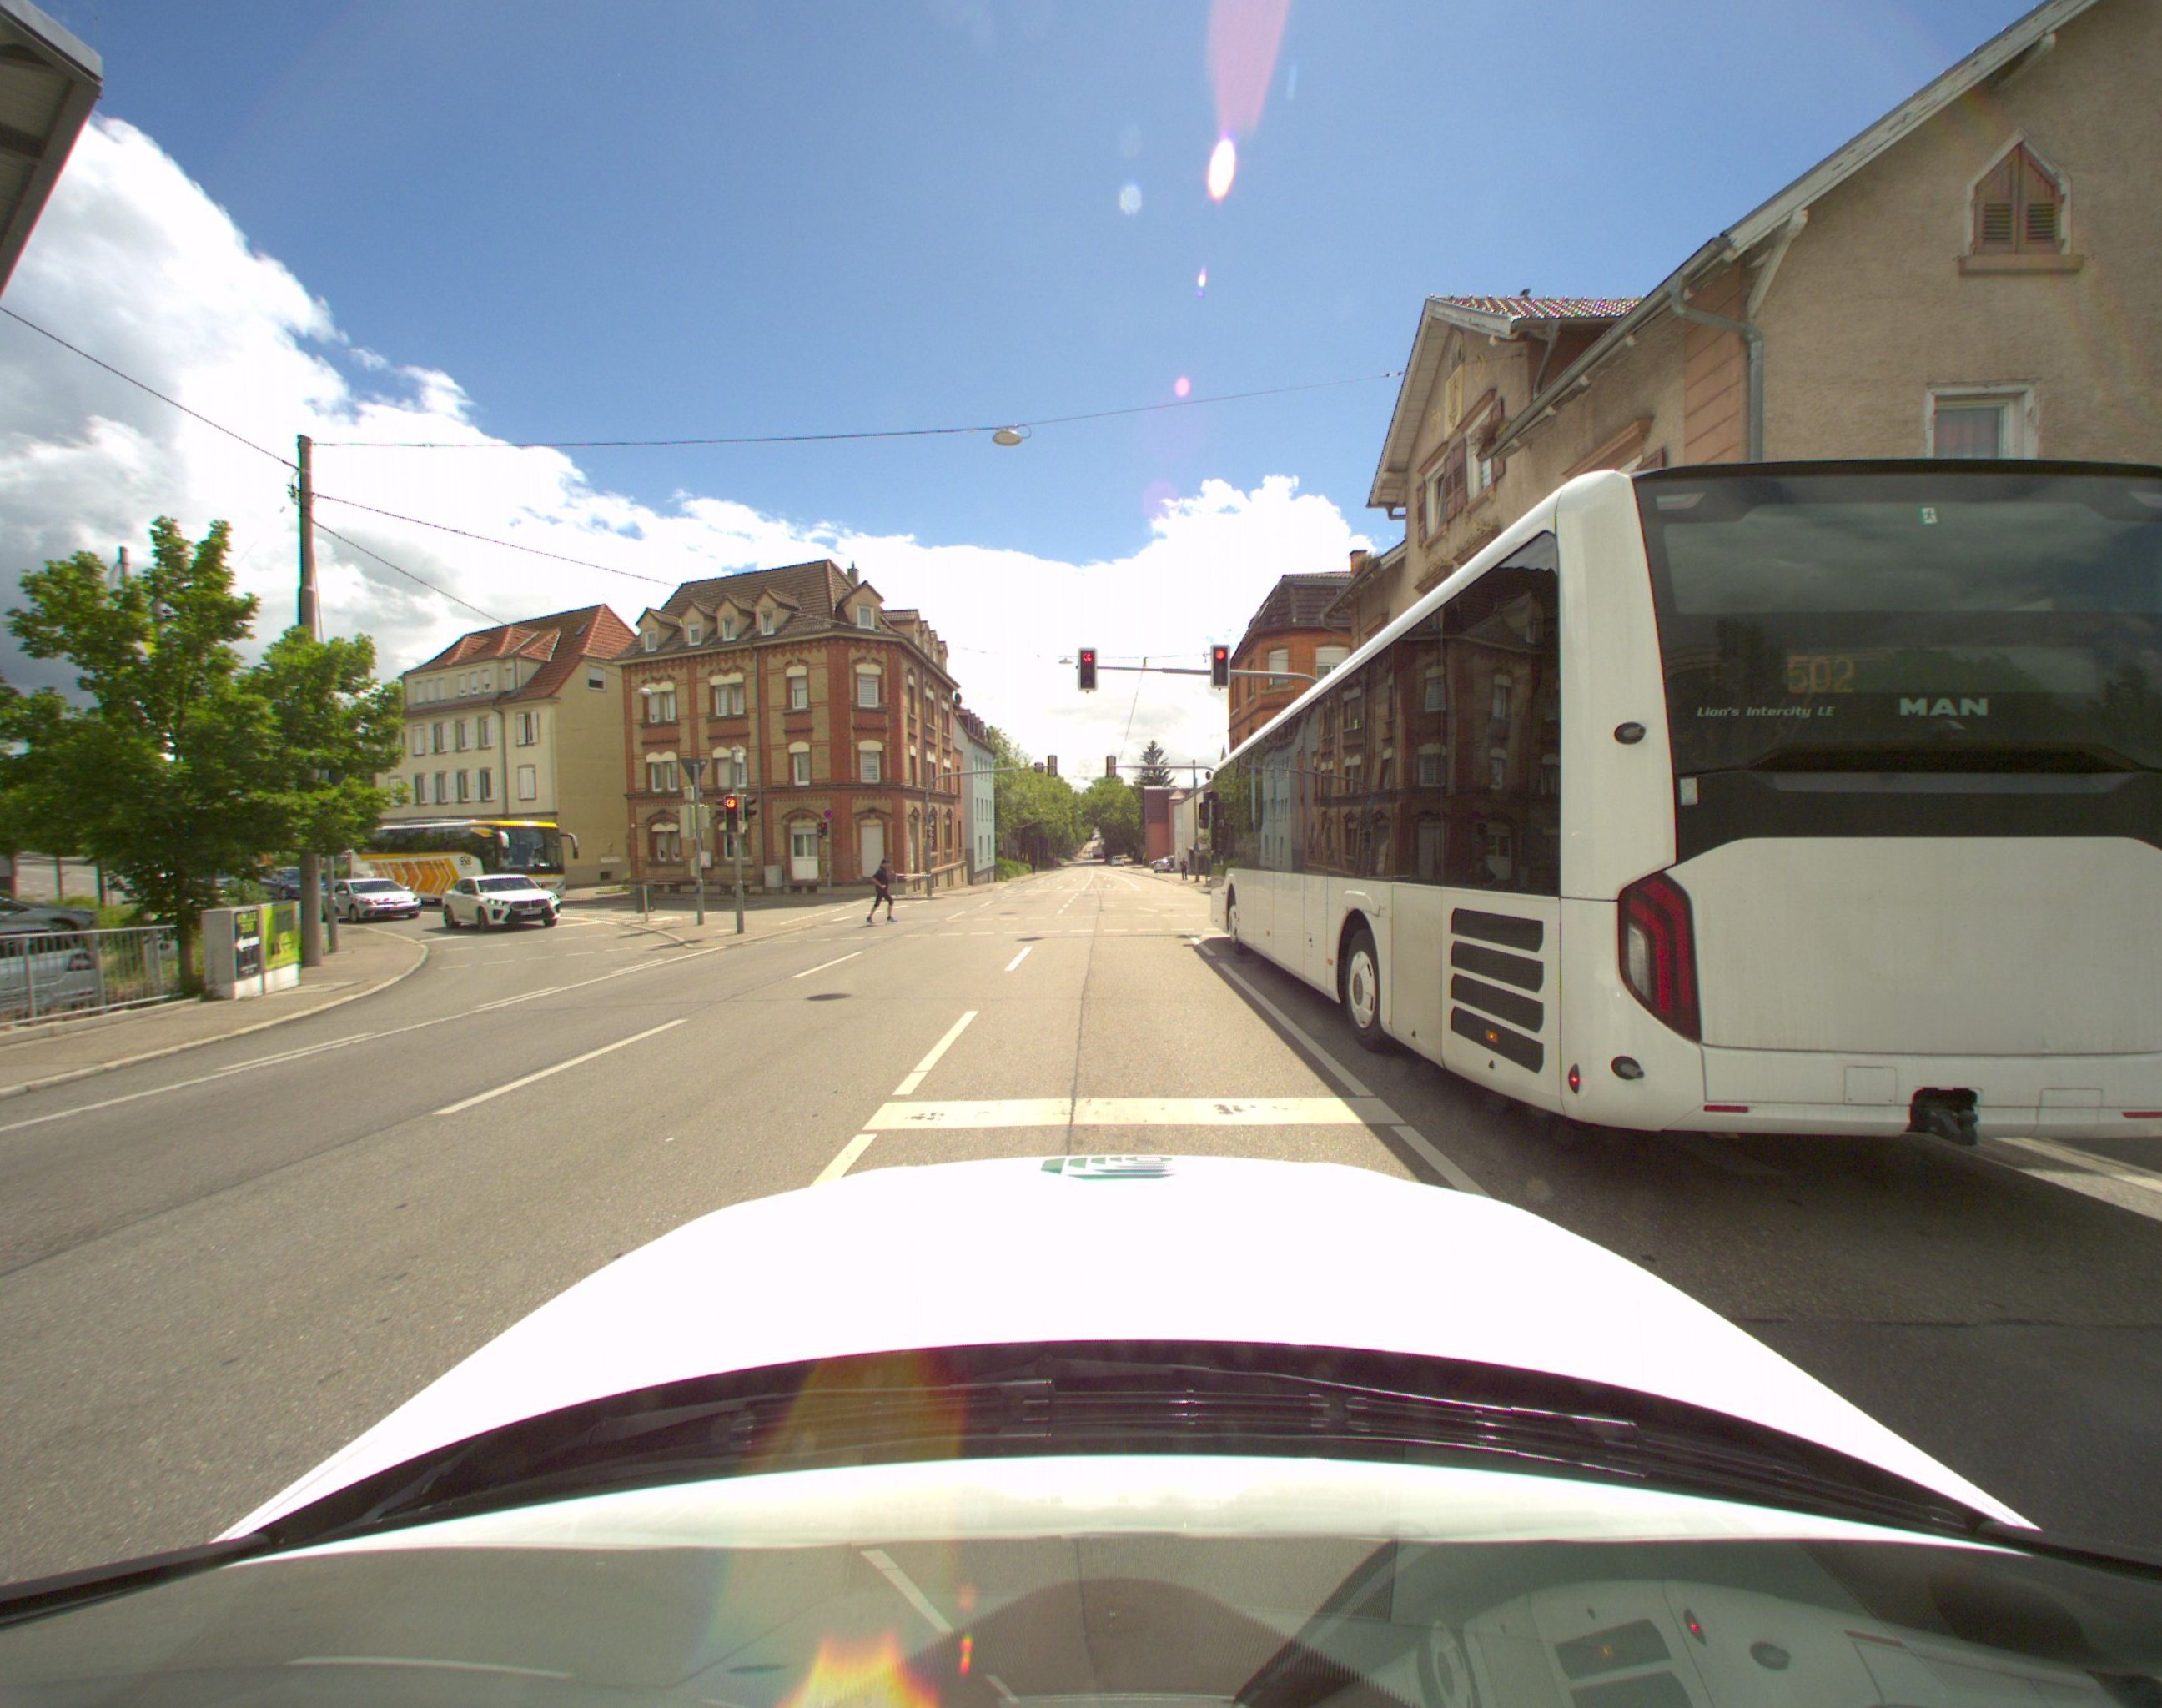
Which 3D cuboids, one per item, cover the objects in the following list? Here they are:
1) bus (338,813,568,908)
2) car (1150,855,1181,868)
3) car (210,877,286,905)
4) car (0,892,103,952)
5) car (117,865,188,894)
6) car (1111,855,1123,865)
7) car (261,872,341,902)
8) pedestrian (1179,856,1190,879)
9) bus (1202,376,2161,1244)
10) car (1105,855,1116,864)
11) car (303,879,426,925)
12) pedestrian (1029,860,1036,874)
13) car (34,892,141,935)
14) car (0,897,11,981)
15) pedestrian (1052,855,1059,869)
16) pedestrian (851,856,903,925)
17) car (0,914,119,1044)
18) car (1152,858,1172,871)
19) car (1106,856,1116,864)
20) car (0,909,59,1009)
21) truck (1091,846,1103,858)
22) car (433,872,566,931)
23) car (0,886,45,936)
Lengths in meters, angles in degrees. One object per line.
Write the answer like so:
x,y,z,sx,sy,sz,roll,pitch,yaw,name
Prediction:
-27.156,0.367,34.930,12.110,3.622,2.788,-1,0,27,bus
11.773,1.043,113.080,3.978,1.757,1.998,-2,0,-3,car
-45.676,2.028,44.657,3.949,1.409,1.923,-2,0,29,car
-29.464,1.876,22.087,1.777,1.477,3.522,-2,0,32,car
-53.706,1.467,47.110,3.949,1.554,1.923,-2,0,29,car
5.766,0.948,129.558,1.788,1.409,4.001,-1,0,1,car
-39.298,1.653,41.003,3.949,1.409,1.762,-2,0,28,car
7.952,1.066,62.743,0.736,1.750,0.619,-2,0,1,pedestrian
3.461,-0.152,9.243,2.662,3.155,12.467,-2,0,2,bus
5.309,0.989,146.382,1.787,1.409,4.421,-1,0,3,car
-24.637,1.616,27.994,3.575,1.418,1.895,-2,0,26,car
-5.624,1.528,93.555,0.727,1.565,0.561,-1,-1,0,pedestrian
-37.599,2.224,30.836,3.456,1.448,1.811,-2,0,26,car
-23.543,1.752,16.551,3.455,1.680,1.663,-1,2,30,car
-3.922,1.220,124.810,0.991,2.013,1.189,-2,0,1,pedestrian
-5.291,0.939,21.221,1.138,1.734,0.758,-2,0,-3,pedestrian
-15.970,1.804,12.078,3.321,1.560,1.692,0,2,32,car
9.227,1.174,93.025,1.788,1.409,4.000,-2,0,1,car
5.743,1.123,154.021,1.787,1.409,4.421,-1,0,3,car
-19.562,1.836,14.170,3.455,1.526,1.626,-1,2,29,car
4.171,-0.577,216.672,2.917,3.081,7.883,-2,0,0,truck
-17.138,1.362,23.944,4.250,1.552,1.845,-2,-1,35,car
-36.231,1.891,25.719,1.785,1.554,4.023,-2,0,25,car
